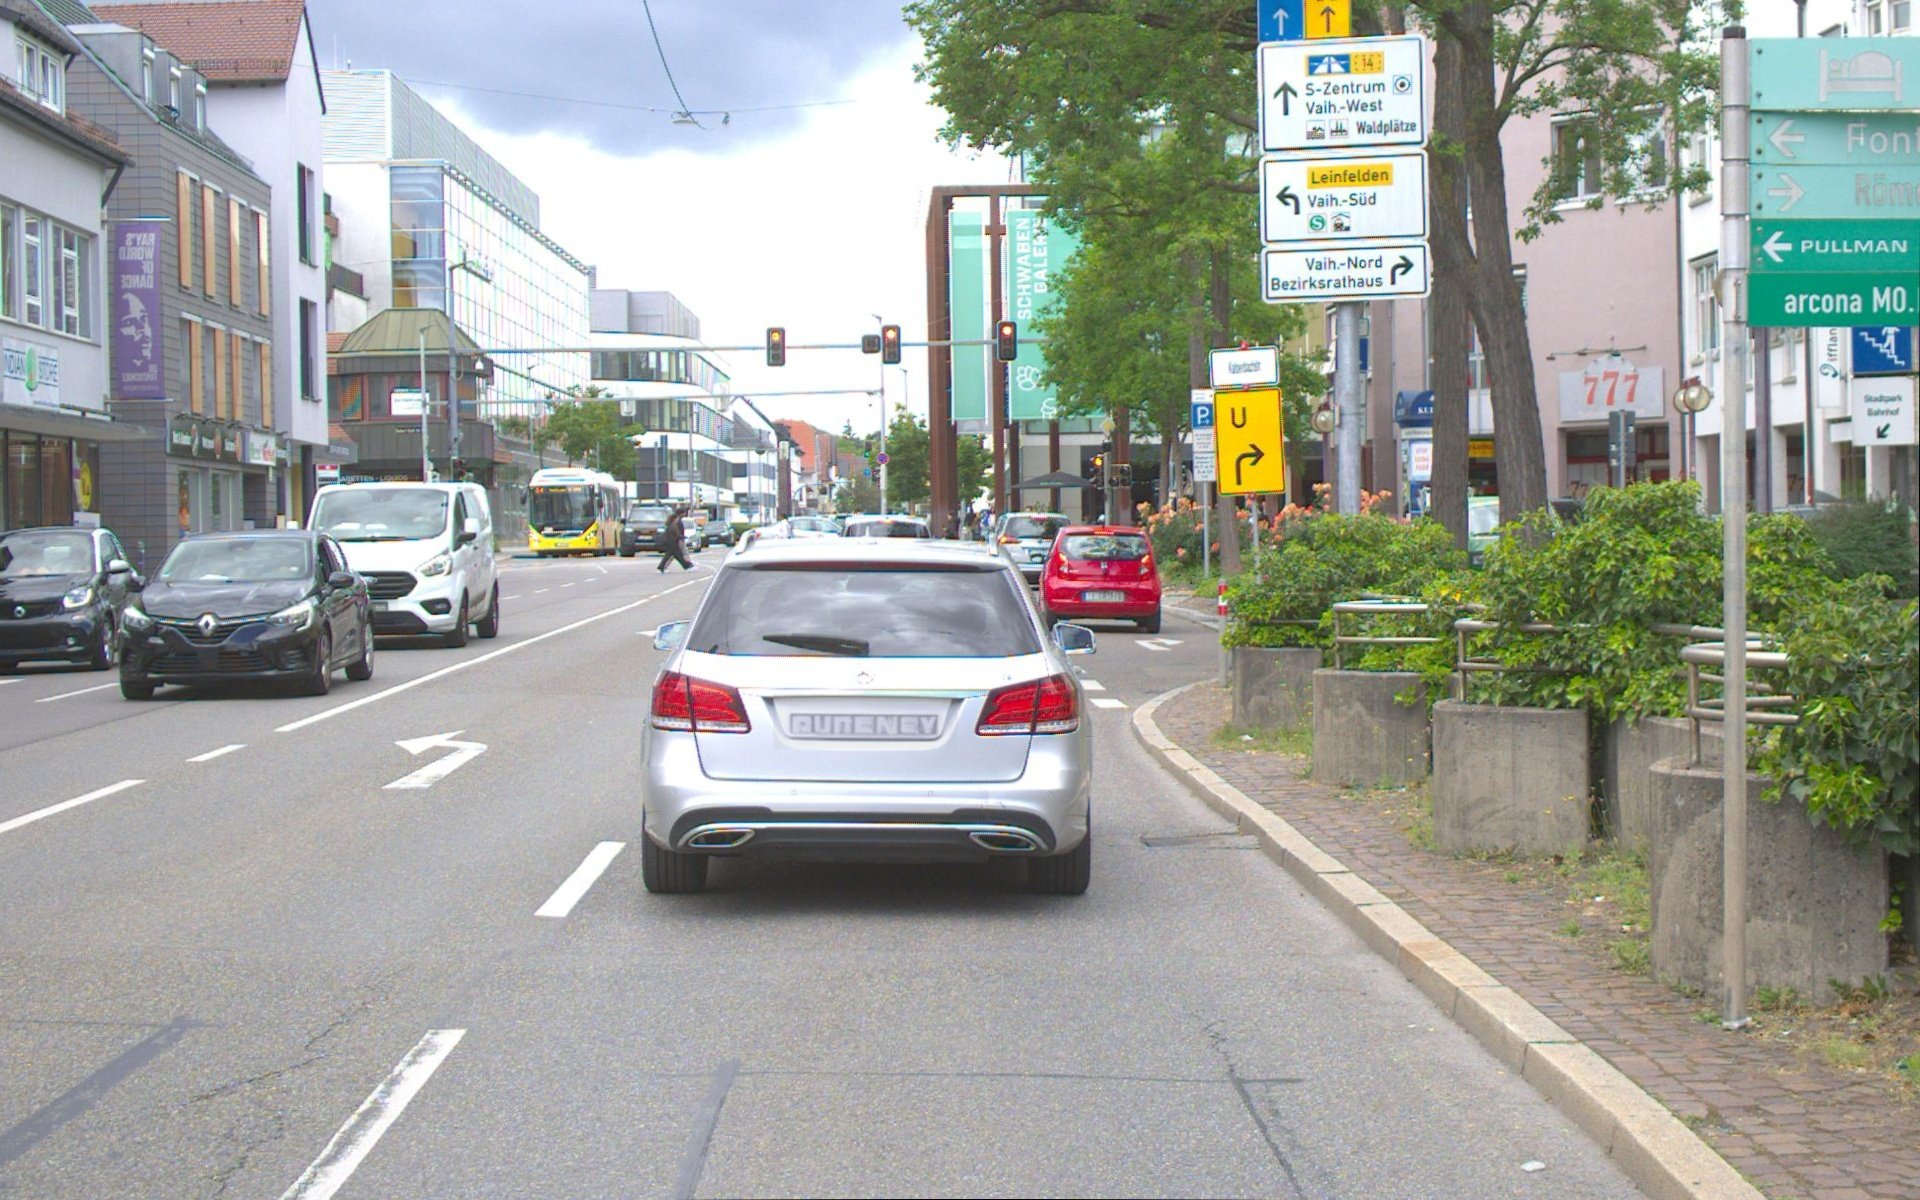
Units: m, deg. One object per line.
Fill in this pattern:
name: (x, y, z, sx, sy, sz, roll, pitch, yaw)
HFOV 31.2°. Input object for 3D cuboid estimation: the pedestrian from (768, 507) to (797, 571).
pedestrian: (-4.612, -1.588, 89.329, 0.613, 1.629, 0.588, 2, 2, -10)

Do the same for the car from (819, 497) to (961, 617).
car: (-1.026, -0.665, 51.029, 1.993, 1.678, 4.000, -1, 1, -1)

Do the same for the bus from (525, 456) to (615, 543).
bus: (-14.687, -3.779, 129.768, 2.775, 3.154, 5.933, -1, 1, -1)

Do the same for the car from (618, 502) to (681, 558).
car: (-11.606, -2.630, 128.577, 1.993, 2.007, 4.000, -1, 1, -1)

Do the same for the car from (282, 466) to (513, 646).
car: (-6.674, -0.552, 41.314, 1.961, 1.954, 5.140, -2, 1, -1)

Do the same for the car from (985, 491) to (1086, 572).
car: (1.597, -1.483, 74.035, 1.993, 1.678, 4.000, -1, 1, -1)

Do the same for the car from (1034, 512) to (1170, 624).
car: (1.967, -0.472, 48.590, 1.754, 1.515, 4.000, 0, 1, 0)

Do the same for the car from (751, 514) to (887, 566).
car: (-4.354, -1.868, 106.432, 4.100, 1.536, 1.580, -1, 1, 0)

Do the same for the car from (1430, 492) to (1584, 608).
car: (9.141, -0.856, 57.757, 1.866, 1.858, 4.000, -1, 1, -1)

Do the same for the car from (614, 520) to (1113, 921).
car: (-0.464, 0.408, 14.958, 1.874, 1.501, 4.001, 0, 1, -3)

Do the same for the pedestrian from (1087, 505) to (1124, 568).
pedestrian: (3.848, -1.693, 90.931, 0.833, 1.629, 0.588, 2, 2, -4)

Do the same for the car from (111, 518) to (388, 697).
car: (-6.197, 0.017, 30.376, 1.617, 1.423, 3.923, -1, 2, 0)

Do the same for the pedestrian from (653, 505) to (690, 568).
pedestrian: (-7.629, -1.695, 90.943, 0.857, 1.629, 0.588, 2, 2, 1)

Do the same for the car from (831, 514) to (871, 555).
car: (-5.580, -3.366, 176.332, 1.993, 2.007, 4.001, -1, 2, -1)

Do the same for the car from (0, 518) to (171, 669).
car: (-9.758, -0.098, 37.286, 1.617, 1.518, 3.508, -2, 2, -1)
